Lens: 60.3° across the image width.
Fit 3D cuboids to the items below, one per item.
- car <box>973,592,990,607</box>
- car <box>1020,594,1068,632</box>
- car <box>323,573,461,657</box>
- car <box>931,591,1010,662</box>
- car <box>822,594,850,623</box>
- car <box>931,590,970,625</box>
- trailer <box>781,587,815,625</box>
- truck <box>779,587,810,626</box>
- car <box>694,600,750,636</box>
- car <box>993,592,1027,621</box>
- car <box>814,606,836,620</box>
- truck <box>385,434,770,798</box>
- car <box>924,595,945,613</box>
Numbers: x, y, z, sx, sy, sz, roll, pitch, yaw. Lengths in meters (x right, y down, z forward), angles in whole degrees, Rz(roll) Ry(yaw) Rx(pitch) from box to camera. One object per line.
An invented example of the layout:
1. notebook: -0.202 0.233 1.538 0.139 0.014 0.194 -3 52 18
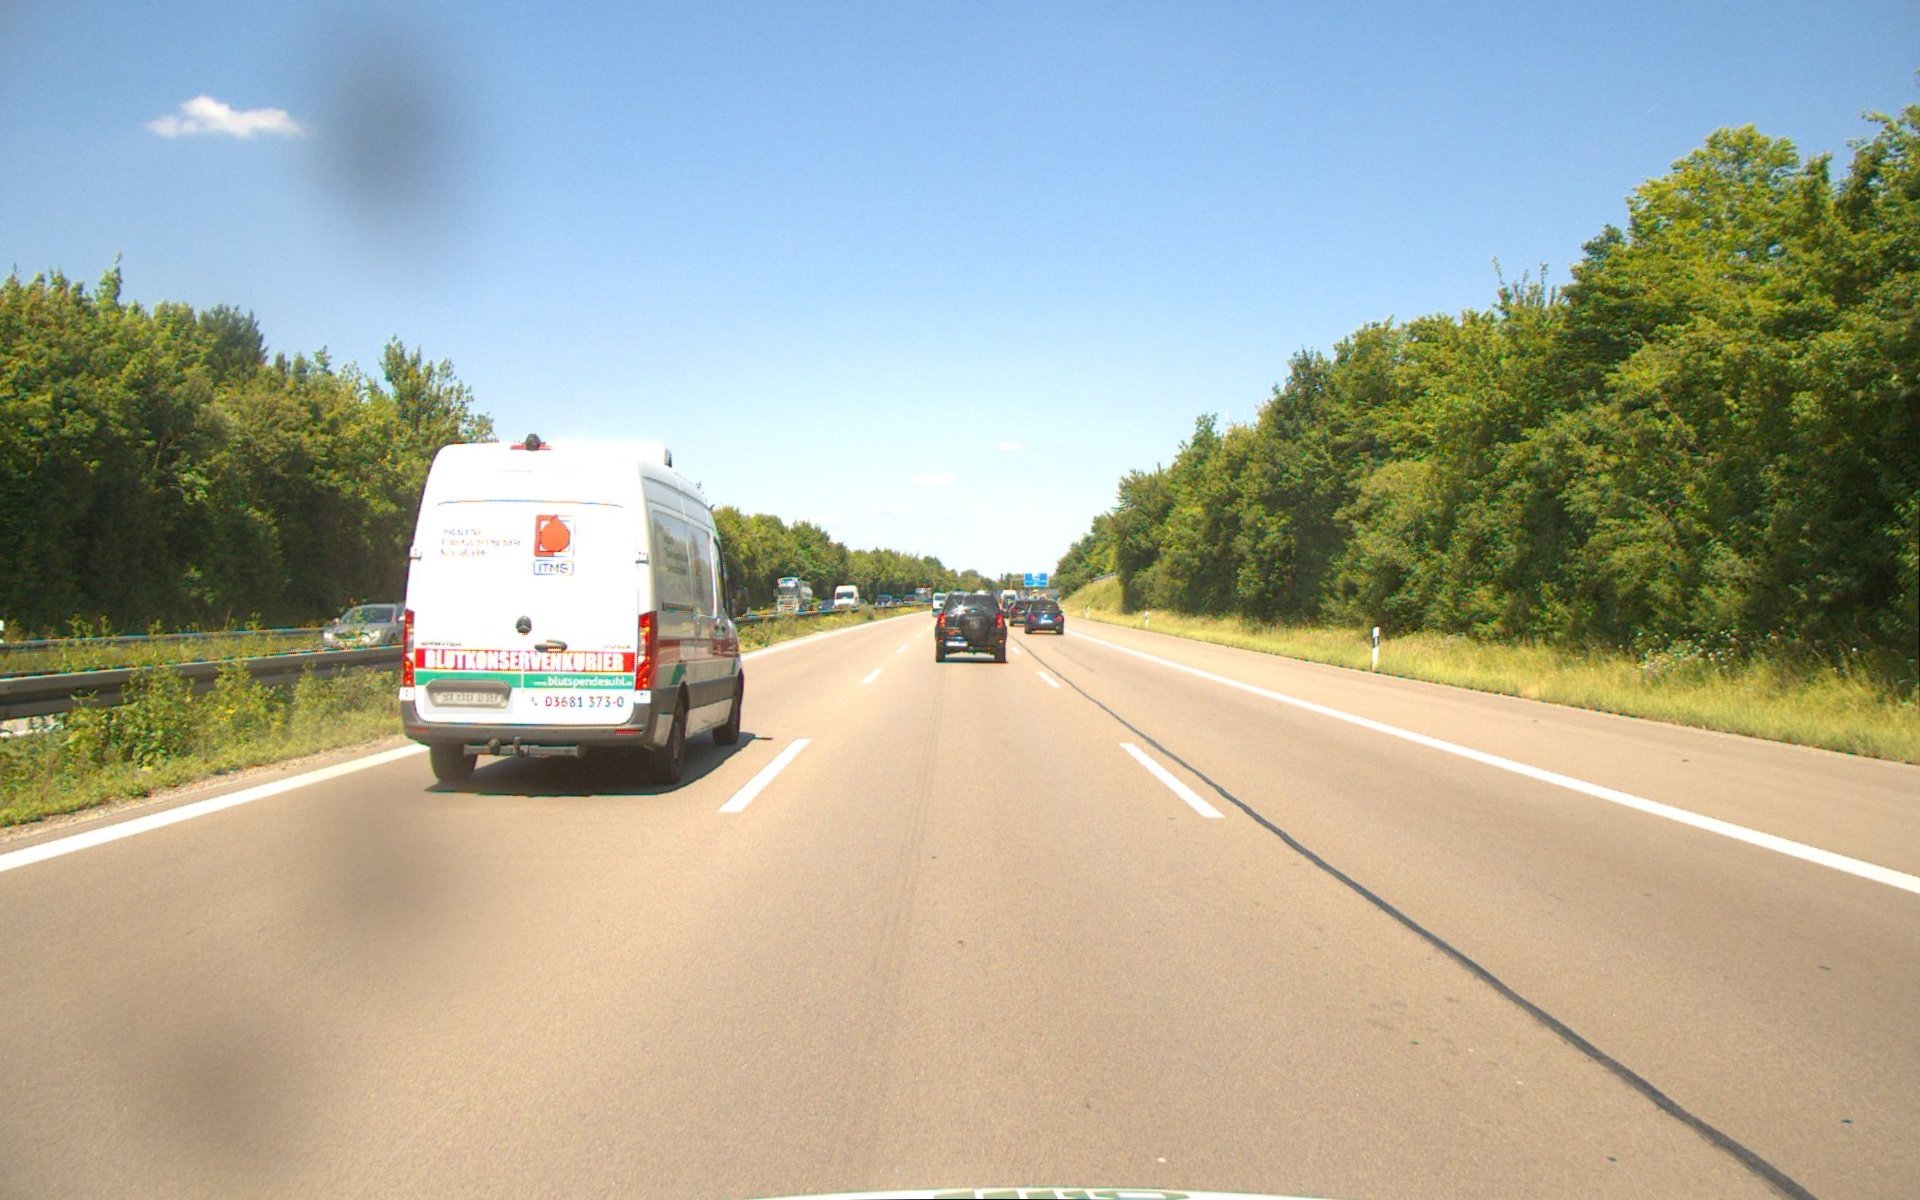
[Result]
1. car: 2.638 -0.070 202.640 1.953 1.780 4.203 0 0 -2
2. car: 3.835 0.607 75.749 1.953 1.713 3.999 0 -1 -1
3. car: -15.222 0.418 44.666 1.953 2.133 5.248 0 -1 -1
4. car: 0.211 0.659 41.237 1.868 1.694 3.999 0 -1 -1
5. car: -11.284 0.748 150.753 2.028 2.600 6.400 -1 0 0
6. car: -0.498 0.377 86.195 1.953 1.736 4.335 -1 0 0
7. trailer: -17.536 0.659 179.943 2.710 3.950 9.455 -2 0 -1
8. truck: -17.424 0.656 174.433 2.676 3.950 6.320 -2 0 -1
9. car: -11.527 0.848 80.453 1.952 1.636 4.649 -1 0 1
10. car: 2.882 0.392 95.842 1.805 1.640 3.999 0 -1 -1
11. car: -14.084 1.334 172.936 1.867 1.440 4.891 0 0 0
12. truck: -3.149 0.111 15.319 1.953 2.587 6.691 1 0 0
13. car: -2.808 0.441 183.775 1.952 2.049 4.951 -1 0 3
